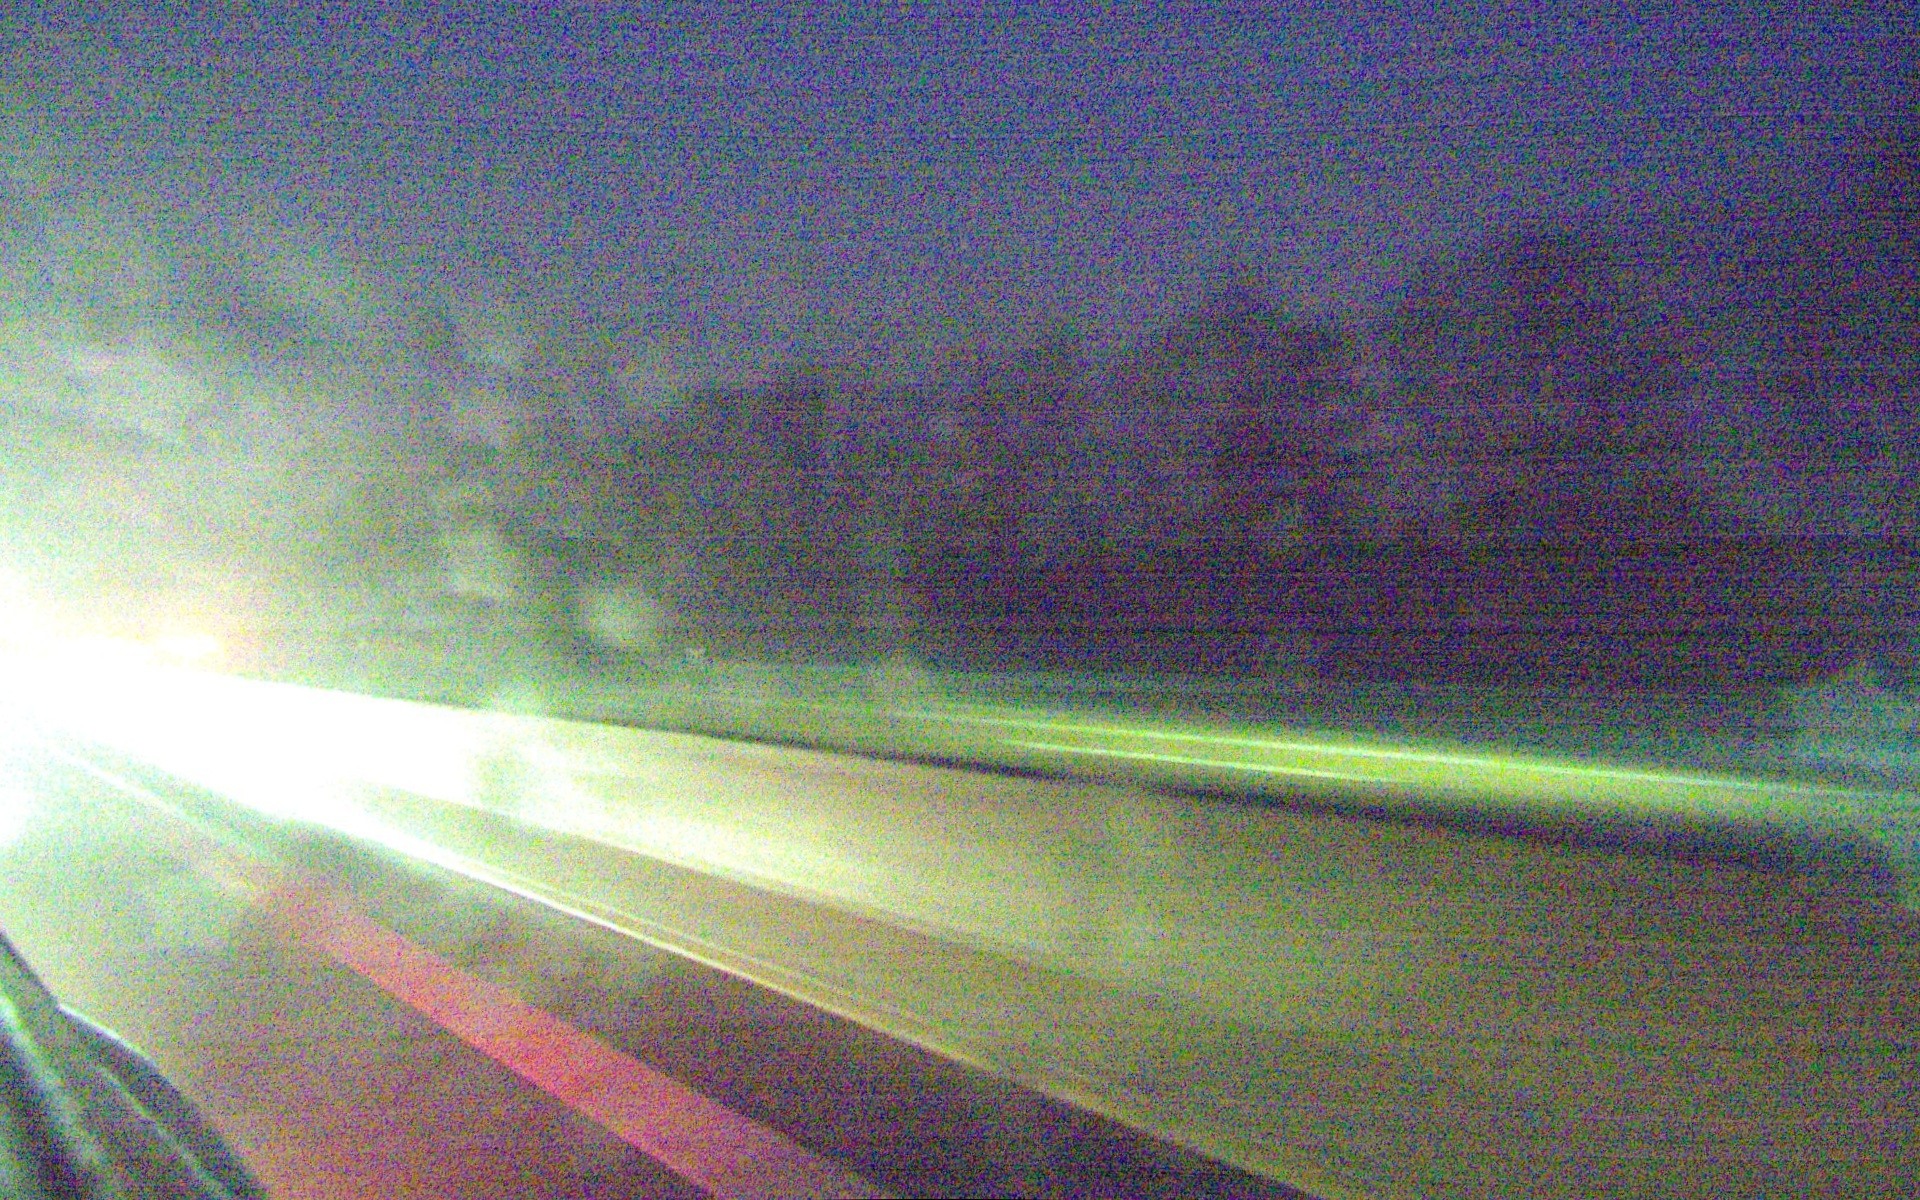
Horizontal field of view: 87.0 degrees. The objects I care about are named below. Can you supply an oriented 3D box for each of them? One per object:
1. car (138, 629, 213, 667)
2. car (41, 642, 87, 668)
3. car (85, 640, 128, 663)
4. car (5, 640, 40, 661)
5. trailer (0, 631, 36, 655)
[{"bbox_3d":[-40.221,2.471,51.837,4.954,1.774,1.974,-3,-2,39],"label":"car"},{"bbox_3d":[-67.076,4.119,75.748,3.996,1.774,1.974,-3,-2,39],"label":"car"},{"bbox_3d":[-74.017,4.484,87.724,5.088,1.829,1.974,-3,-2,39],"label":"car"},{"bbox_3d":[-89.178,4.818,96.261,4.652,1.774,1.973,-4,-2,41],"label":"car"},{"bbox_3d":[-132.731,6.086,142.136,13.153,3.321,3.041,-3,-4,43],"label":"trailer"}]
